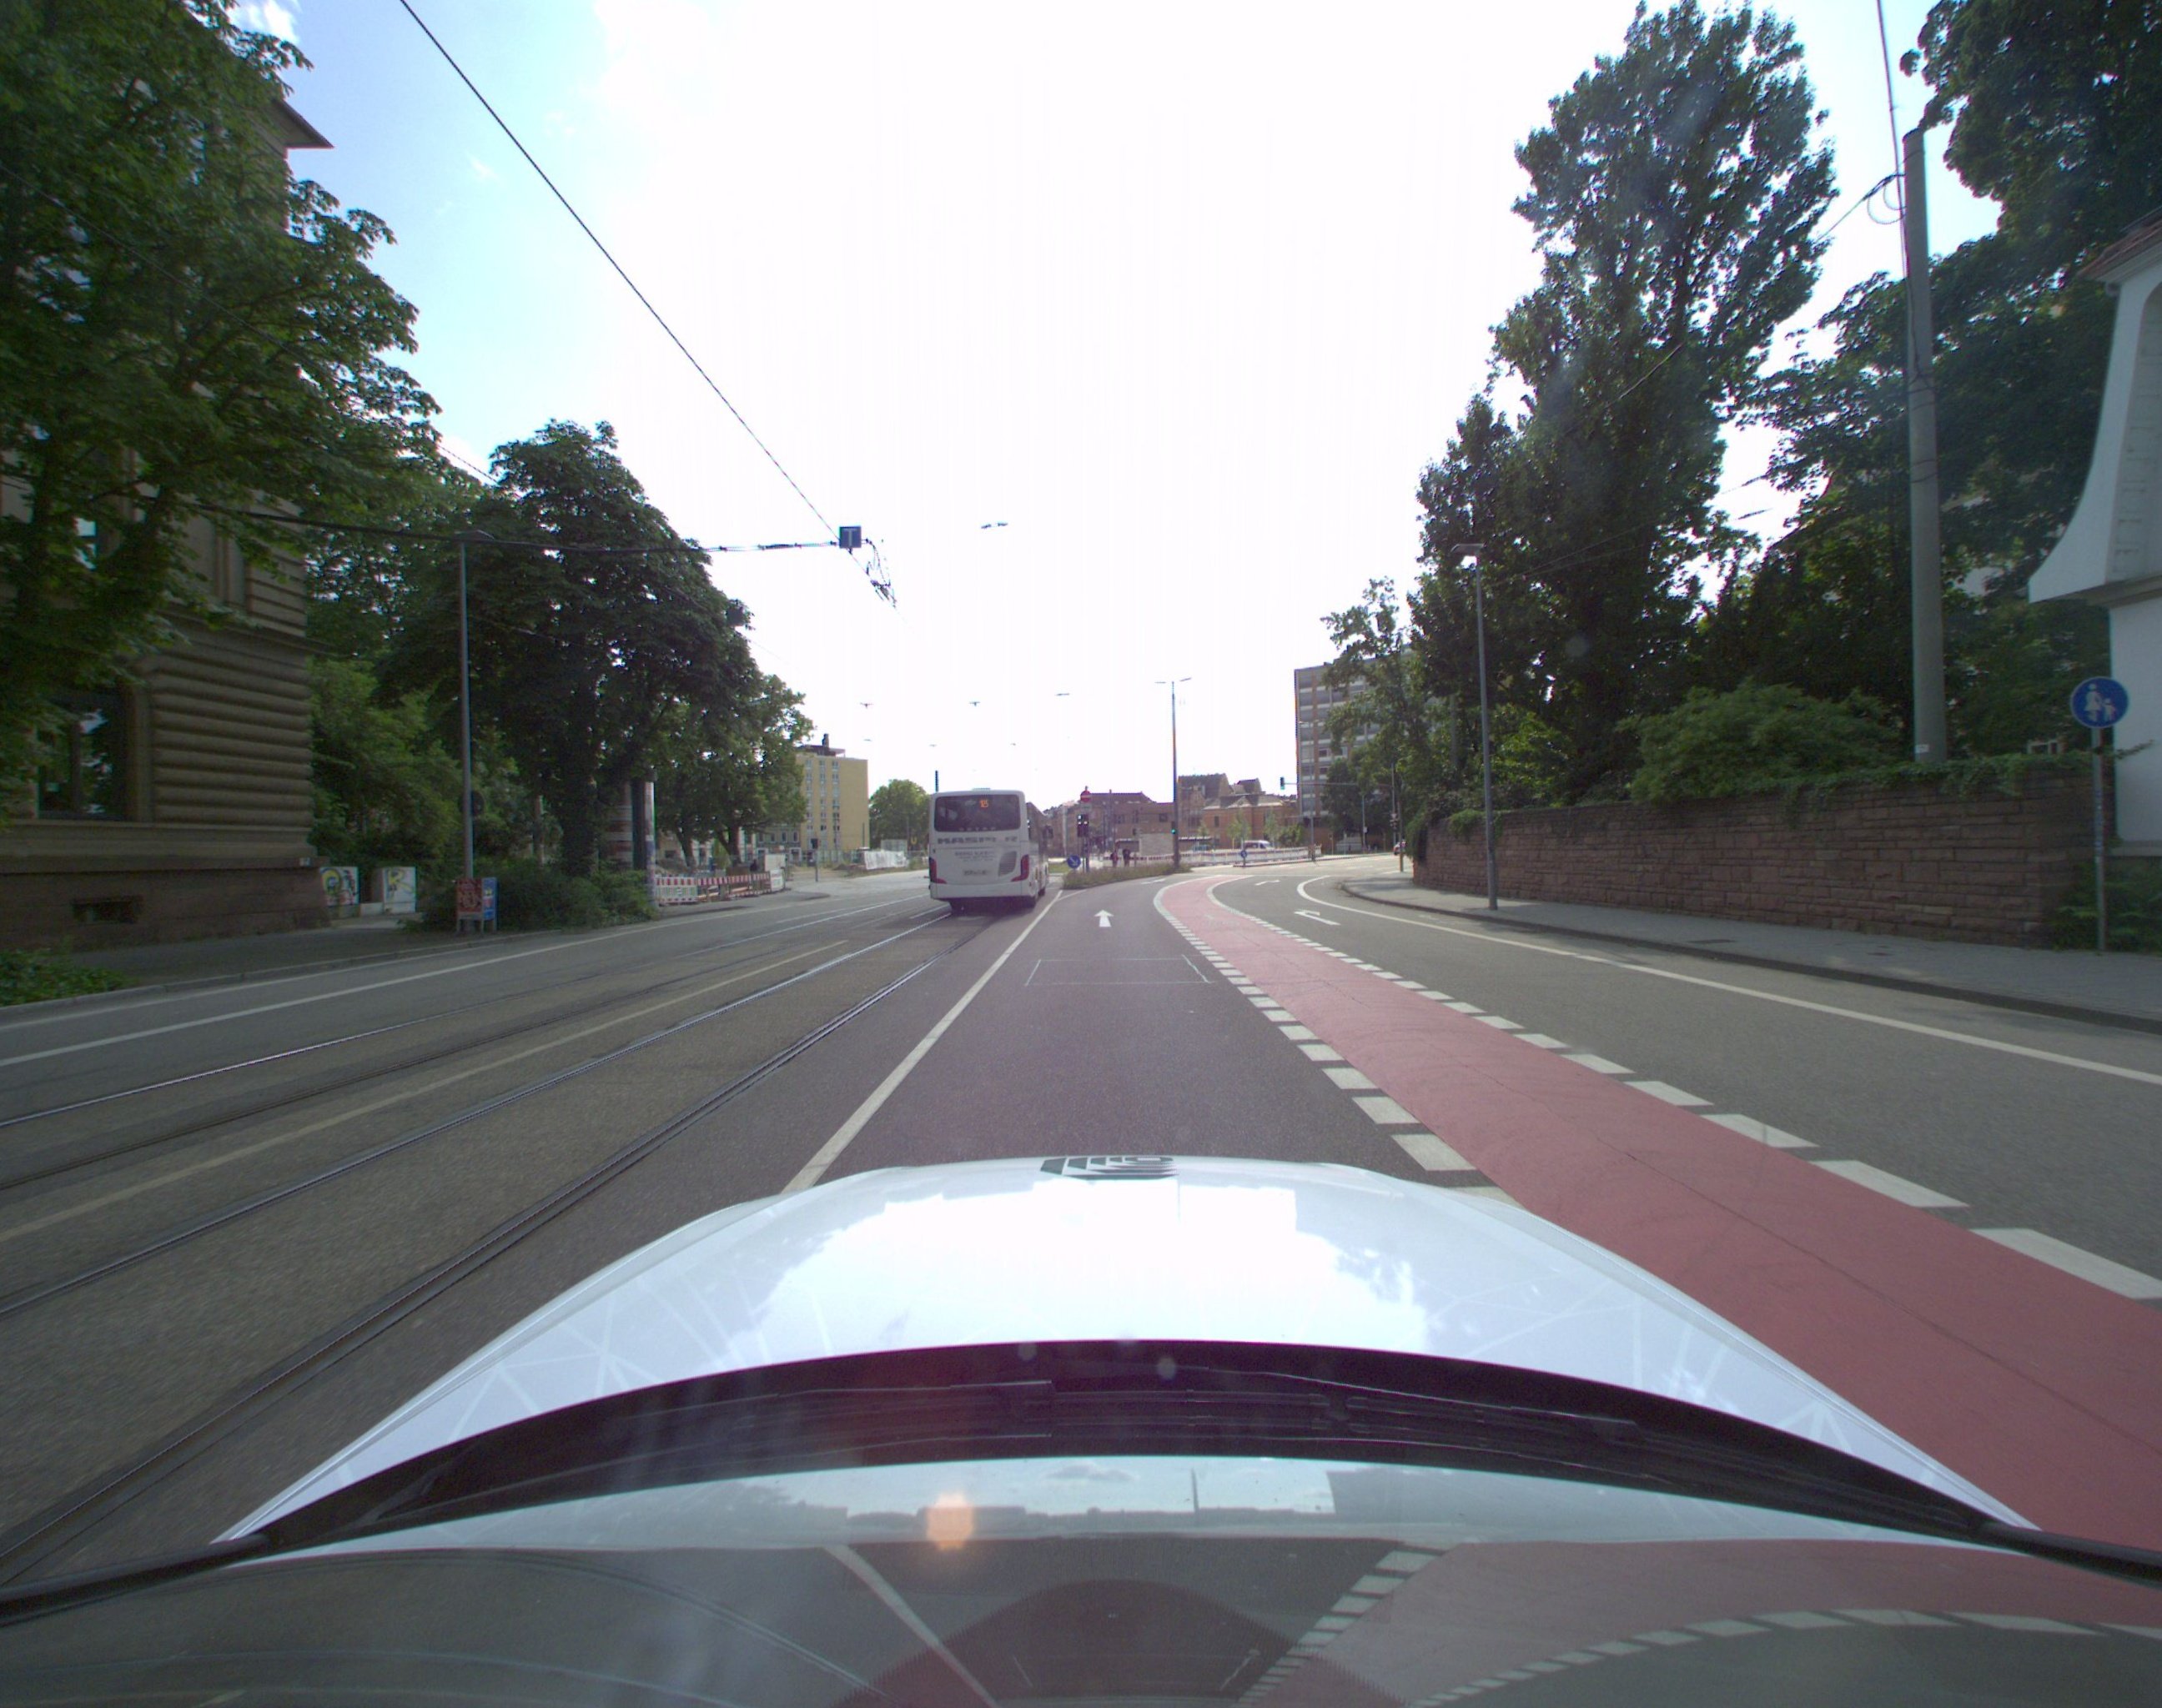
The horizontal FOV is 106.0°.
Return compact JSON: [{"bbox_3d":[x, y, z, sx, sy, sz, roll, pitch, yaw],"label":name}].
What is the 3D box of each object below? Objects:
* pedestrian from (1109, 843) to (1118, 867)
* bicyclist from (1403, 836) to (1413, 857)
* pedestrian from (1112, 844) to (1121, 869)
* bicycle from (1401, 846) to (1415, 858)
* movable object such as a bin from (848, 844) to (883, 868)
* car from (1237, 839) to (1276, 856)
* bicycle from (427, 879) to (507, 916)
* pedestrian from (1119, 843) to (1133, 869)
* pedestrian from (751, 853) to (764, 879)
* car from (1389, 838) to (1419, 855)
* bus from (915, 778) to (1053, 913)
[{"bbox_3d":[2.333,0.068,58.497,0.608,1.706,0.623,-2,0,4],"label":"pedestrian"},{"bbox_3d":[31.983,-0.756,79.601,0.711,1.973,0.845,-2,1,35],"label":"bicyclist"},{"bbox_3d":[2.572,0.179,59.306,0.405,1.736,0.624,-1,0,20],"label":"pedestrian"},{"bbox_3d":[31.987,-0.203,79.584,0.714,1.084,2.205,-2,1,35],"label":"bicycle"},{"bbox_3d":[-24.234,0.254,91.792,2.631,2.574,4.004,-1,0,3],"label":"movable object such as a bin"},{"bbox_3d":[25.918,-0.958,120.251,2.311,2.319,5.528,-1,0,-35],"label":"car"},{"bbox_3d":[-20.631,1.455,27.396,2.108,1.168,0.730,0,0,-1],"label":"bicycle"},{"bbox_3d":[3.331,0.157,59.946,0.793,1.884,0.609,-2,0,-18],"label":"pedestrian"},{"bbox_3d":[-21.047,0.749,52.977,0.790,1.652,0.576,-2,0,-23],"label":"pedestrian"},{"bbox_3d":[35.014,-0.841,88.325,2.109,1.683,4.129,1,2,35],"label":"car"},{"bbox_3d":[-2.607,-0.214,26.281,2.908,3.328,12.205,0,0,0],"label":"bus"}]
